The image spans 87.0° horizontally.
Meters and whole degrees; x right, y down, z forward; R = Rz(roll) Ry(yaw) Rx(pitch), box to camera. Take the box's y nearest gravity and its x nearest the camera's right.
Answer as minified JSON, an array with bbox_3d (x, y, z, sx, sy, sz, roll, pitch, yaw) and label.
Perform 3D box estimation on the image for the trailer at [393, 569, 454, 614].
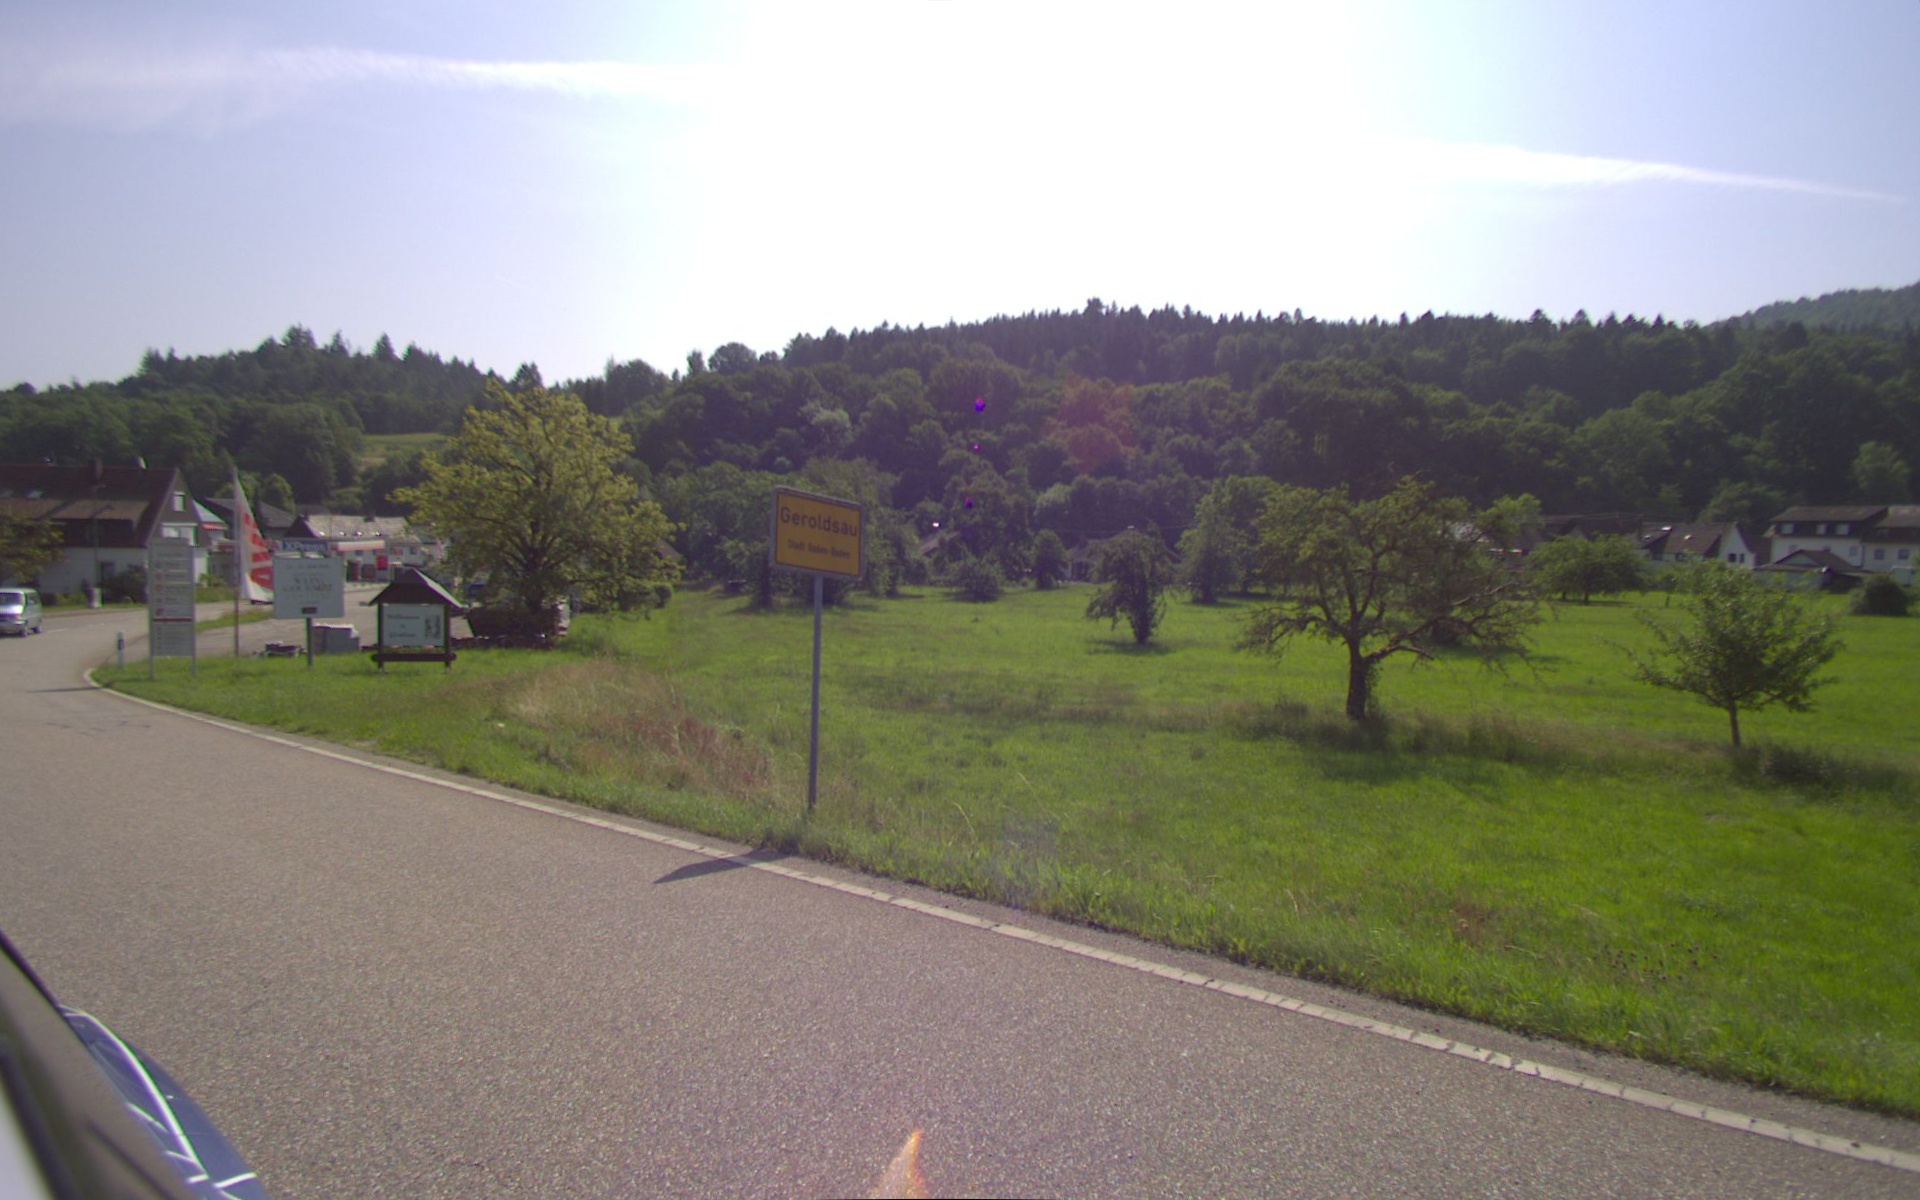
[{"bbox_3d":[-35.967,-0.586,67.928,3.343,2.933,1.890,-1,2,-22],"label":"trailer"}]

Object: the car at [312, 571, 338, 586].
[{"bbox_3d":[-79.605,-2.707,126.924,1.657,1.829,4.012,-1,3,-16],"label":"car"}]

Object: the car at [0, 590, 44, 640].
[{"bbox_3d":[-39.690,0.583,41.960,1.865,1.871,4.716,0,2,-34],"label":"car"}]

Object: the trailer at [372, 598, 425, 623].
[{"bbox_3d":[-34.661,0.601,62.634,1.965,1.235,5.565,-1,3,-20],"label":"trailer"}]

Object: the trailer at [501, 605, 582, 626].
[{"bbox_3d":[-22.523,0.823,54.586,3.878,0.946,1.874,-1,3,-17],"label":"trailer"}]

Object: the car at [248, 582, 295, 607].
[{"bbox_3d":[-54.057,-0.449,79.546,1.739,1.758,3.992,-1,4,-14],"label":"car"}]
